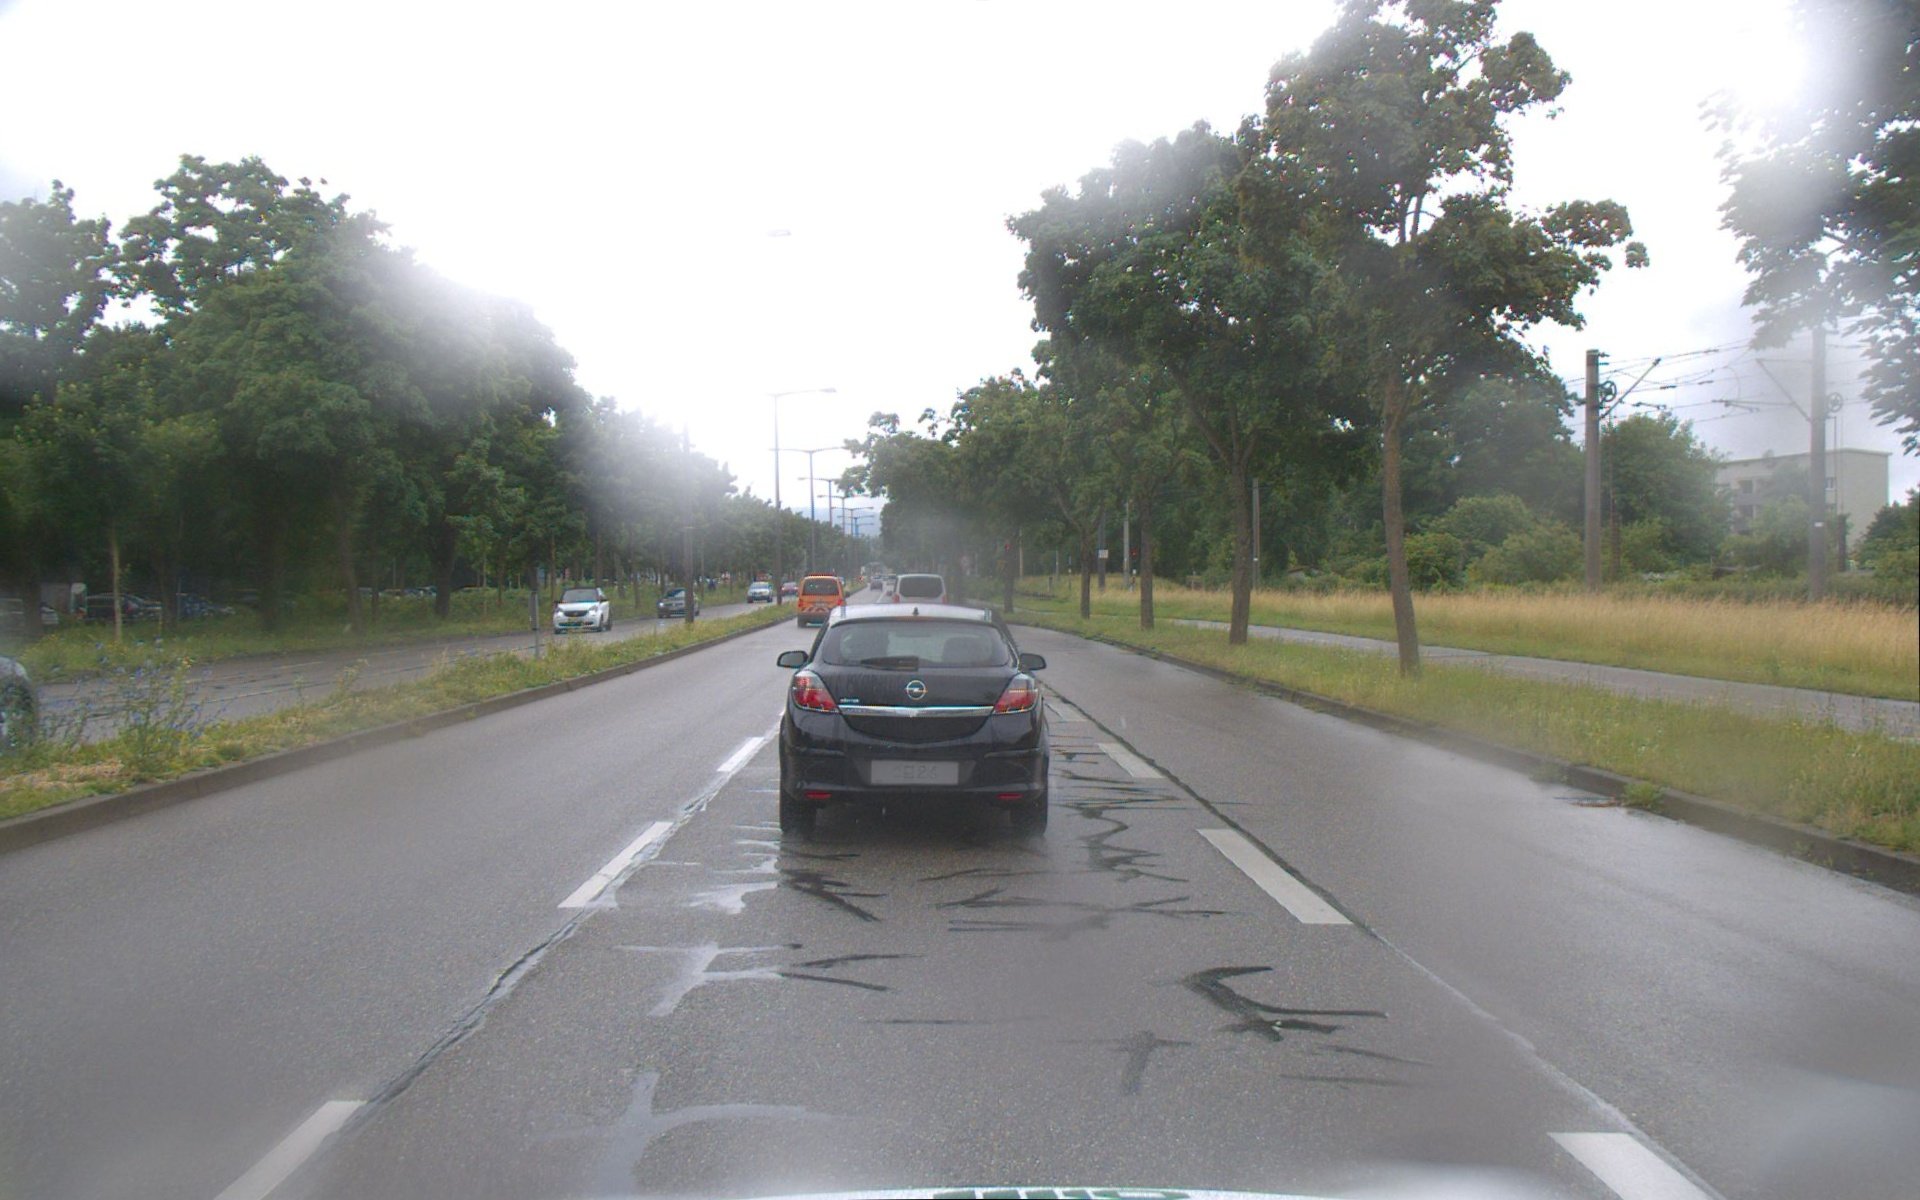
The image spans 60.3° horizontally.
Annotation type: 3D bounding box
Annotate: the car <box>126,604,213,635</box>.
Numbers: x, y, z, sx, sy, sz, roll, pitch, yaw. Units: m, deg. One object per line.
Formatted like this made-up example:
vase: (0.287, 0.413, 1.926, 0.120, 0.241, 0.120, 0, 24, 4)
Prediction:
car: (-40.557, 0.977, 84.938, 3.773, 1.477, 1.518, -1, 0, -16)

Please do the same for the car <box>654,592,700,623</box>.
car: (-14.259, 0.359, 83.443, 1.685, 1.556, 3.808, 0, 0, -1)

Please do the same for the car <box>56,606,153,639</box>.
car: (-40.307, 1.033, 77.984, 3.769, 1.477, 1.520, -1, 0, -13)

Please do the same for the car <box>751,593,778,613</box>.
car: (-15.410, 0.206, 130.676, 1.685, 1.556, 3.808, 0, 0, -1)

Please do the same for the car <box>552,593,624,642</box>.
car: (-13.045, 0.591, 58.189, 1.685, 1.556, 3.809, 0, 1, -1)

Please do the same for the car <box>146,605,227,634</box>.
car: (-42.073, 1.066, 90.059, 3.773, 1.477, 1.518, -1, 0, -16)

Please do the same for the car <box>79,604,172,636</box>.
car: (-40.498, 0.965, 80.349, 3.773, 1.477, 1.518, -1, 0, -16)

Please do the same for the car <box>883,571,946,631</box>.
car: (-1.632, 0.056, 58.165, 2.018, 2.009, 4.605, 1, 0, -4)

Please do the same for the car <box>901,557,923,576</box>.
car: (-5.717, -3.986, 198.143, 2.465, 2.088, 5.292, 2, 1, -1)

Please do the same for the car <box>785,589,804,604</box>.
car: (-17.238, -0.362, 172.235, 1.685, 1.556, 3.808, 0, 0, -1)

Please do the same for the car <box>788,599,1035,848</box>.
car: (-0.228, 0.716, 11.523, 1.433, 1.352, 3.759, 0, 1, 2)

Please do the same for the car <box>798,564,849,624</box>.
car: (-4.990, -0.203, 60.963, 1.700, 2.054, 4.845, 2, -1, -4)

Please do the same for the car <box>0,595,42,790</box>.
car: (-8.146, 0.715, 11.160, 1.790, 1.475, 3.808, 0, 0, -1)
